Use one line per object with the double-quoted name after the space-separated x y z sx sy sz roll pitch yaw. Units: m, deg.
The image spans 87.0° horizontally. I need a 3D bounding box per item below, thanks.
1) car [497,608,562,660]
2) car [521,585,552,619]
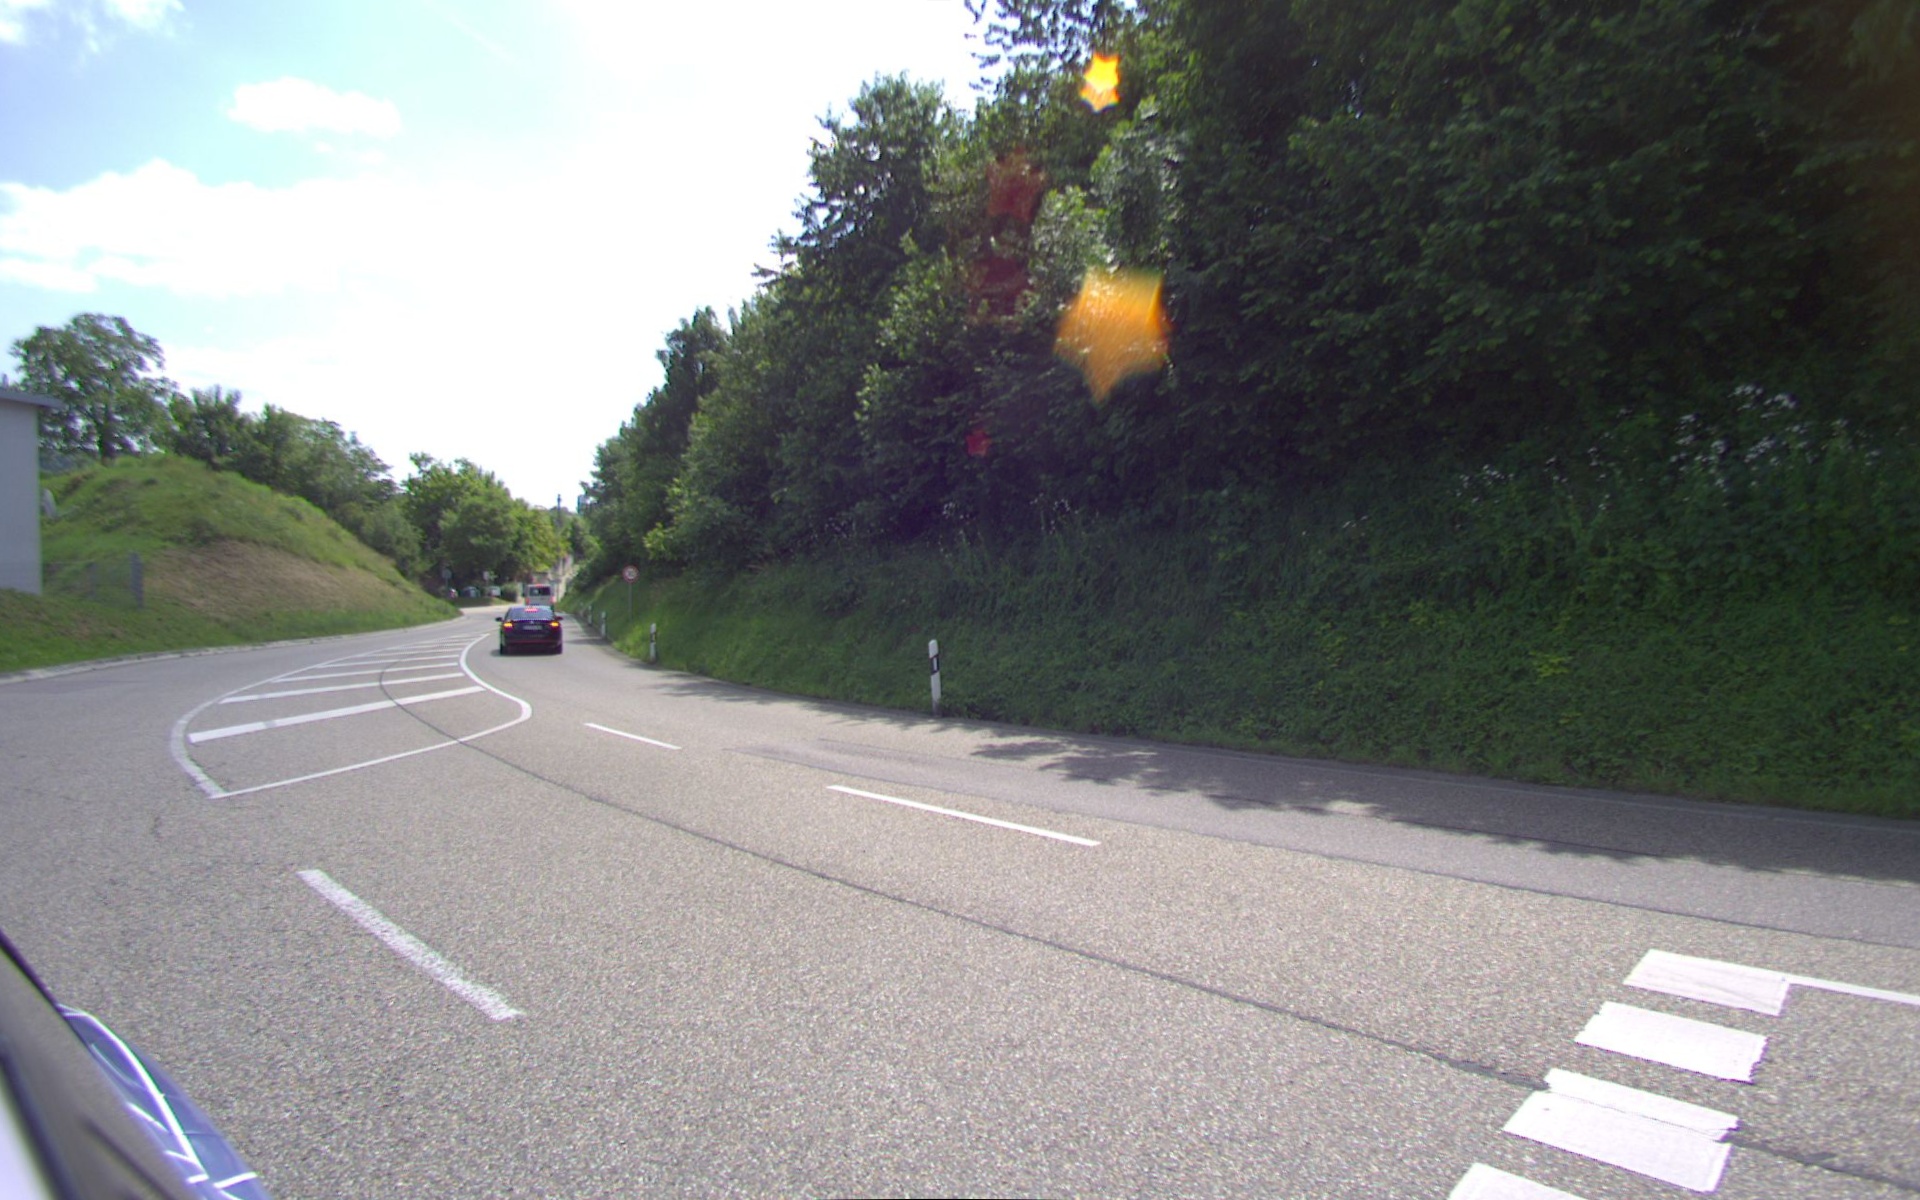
-13.337 1.000 31.229 1.661 1.430 4.359 1 0 -25 "car"
-33.784 0.147 80.598 2.056 2.307 5.968 1 3 -25 "car"
